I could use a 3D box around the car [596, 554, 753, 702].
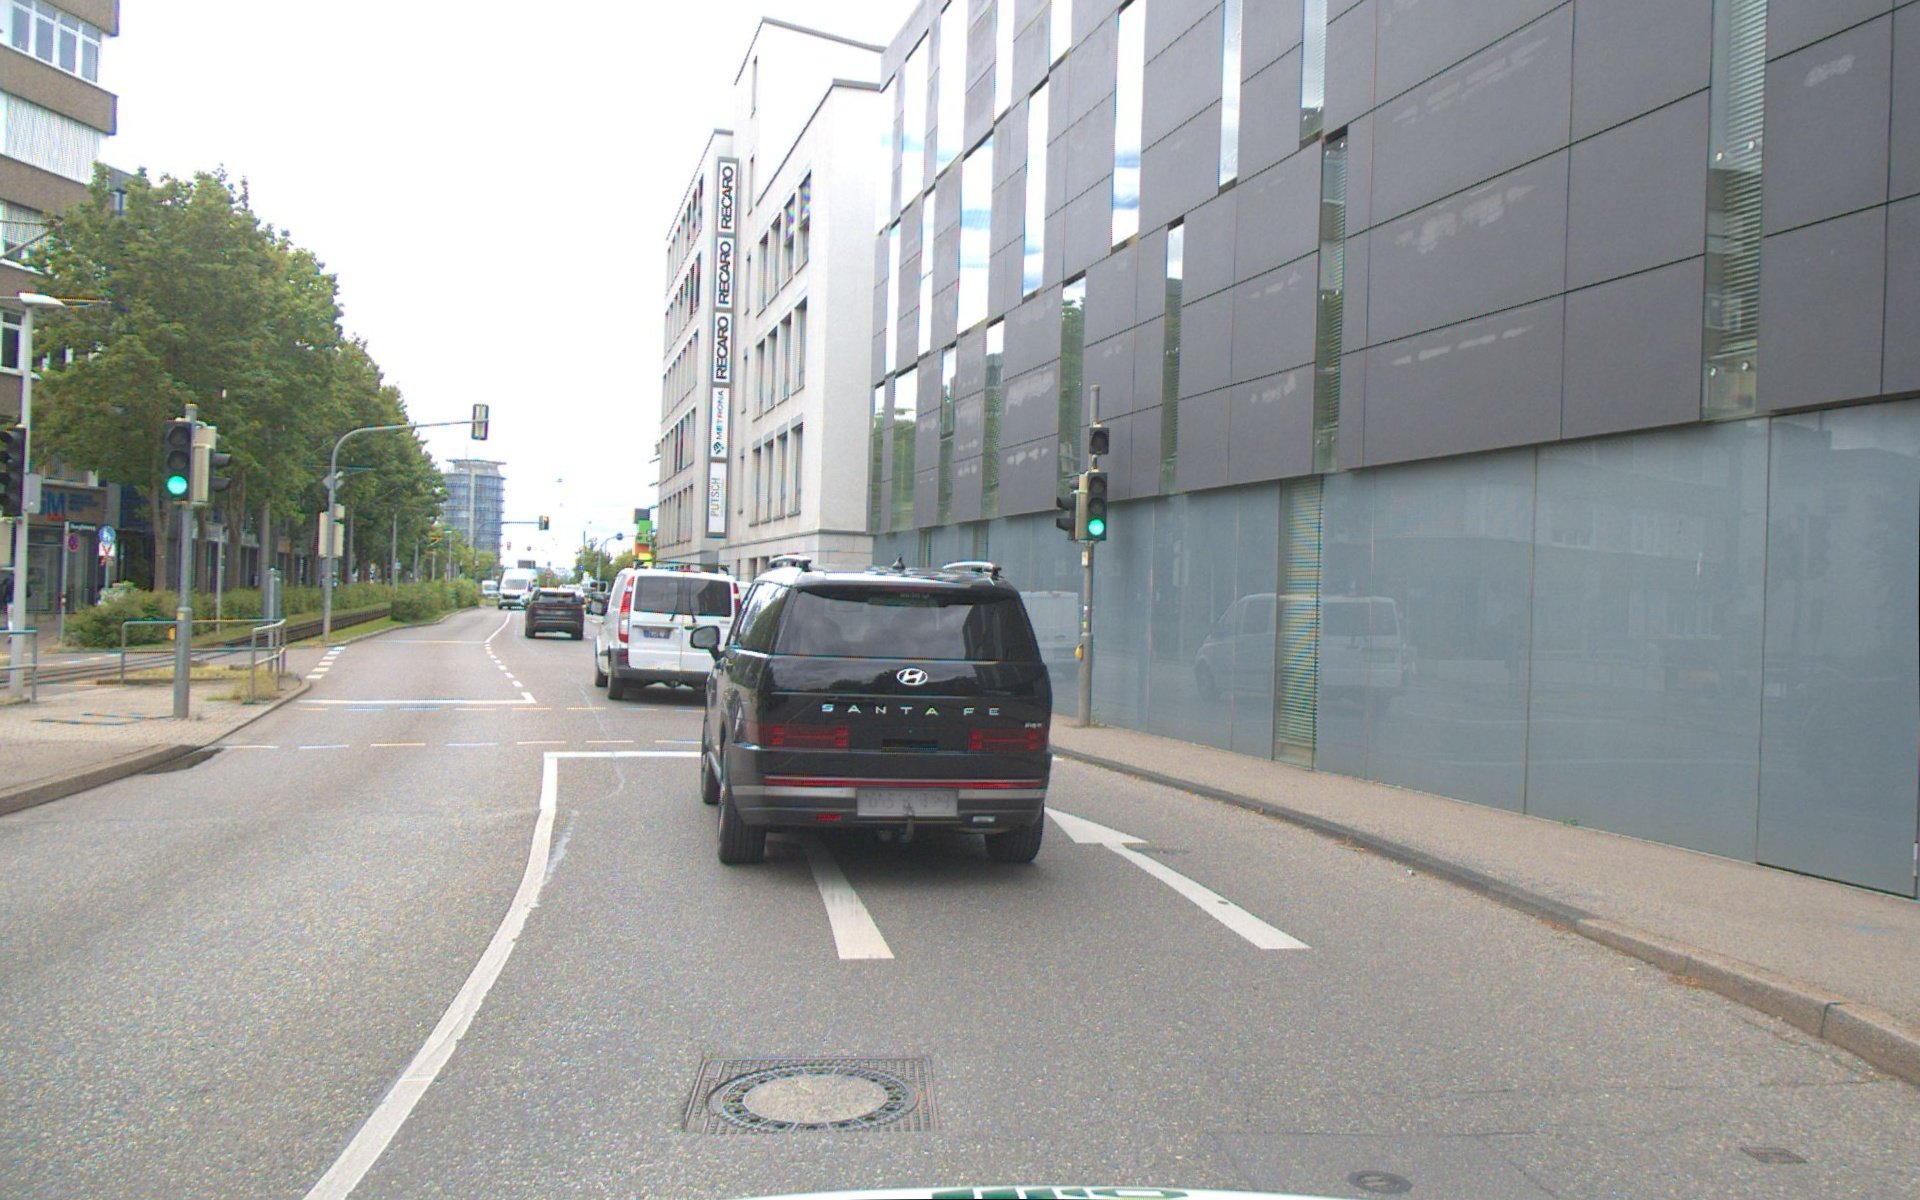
[{"bbox_3d":[-4.439,0.384,25.199,1.900,2.029,4.516,2,0,-15],"label":"car"}]

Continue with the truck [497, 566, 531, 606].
[{"bbox_3d":[-30.826,-0.941,114.268,2.130,2.661,5.771,1,0,-16],"label":"truck"}]

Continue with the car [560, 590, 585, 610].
[{"bbox_3d":[-39.514,-0.002,168.591,1.647,1.914,3.965,2,0,-27],"label":"car"}]

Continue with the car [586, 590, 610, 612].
[{"bbox_3d":[-28.395,0.035,129.795,1.728,1.637,4.175,2,0,-12],"label":"car"}]

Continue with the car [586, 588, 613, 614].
[{"bbox_3d":[-24.400,0.064,111.959,1.728,1.637,4.175,2,0,-12],"label":"car"}]

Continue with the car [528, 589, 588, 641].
[{"bbox_3d":[-13.415,0.468,55.368,1.728,1.637,4.176,2,0,-11],"label":"car"}]

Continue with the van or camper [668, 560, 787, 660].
[{"bbox_3d":[-5.067,0.195,35.534,1.960,1.949,4.314,3,0,-15],"label":"van or camper"}]

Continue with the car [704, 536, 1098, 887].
[{"bbox_3d":[-0.617,0.579,10.728,1.875,1.780,4.385,1,0,-11],"label":"car"}]

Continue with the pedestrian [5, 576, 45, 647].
[{"bbox_3d":[-23.196,0.284,41.034,0.676,1.735,0.680,0,0,-13],"label":"pedestrian"}]
